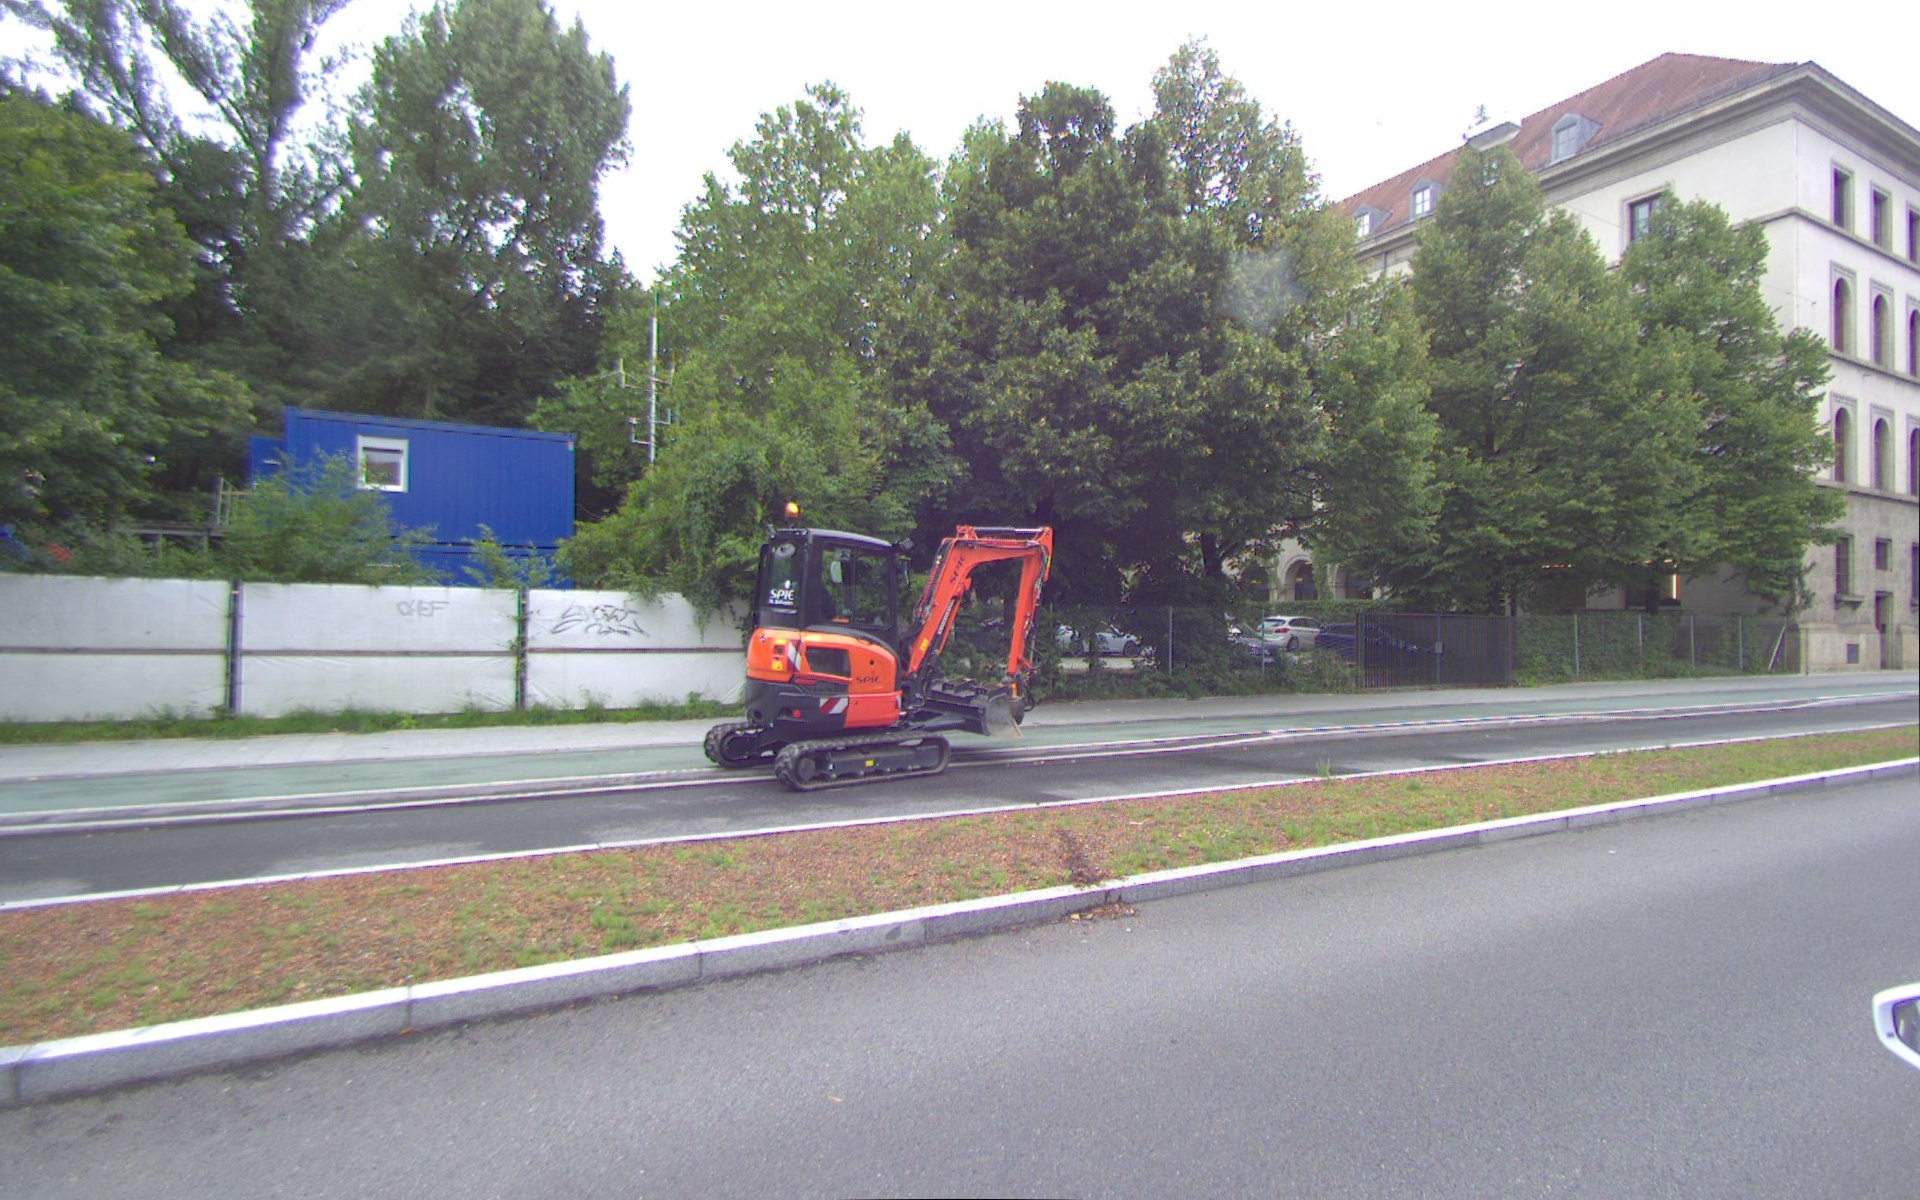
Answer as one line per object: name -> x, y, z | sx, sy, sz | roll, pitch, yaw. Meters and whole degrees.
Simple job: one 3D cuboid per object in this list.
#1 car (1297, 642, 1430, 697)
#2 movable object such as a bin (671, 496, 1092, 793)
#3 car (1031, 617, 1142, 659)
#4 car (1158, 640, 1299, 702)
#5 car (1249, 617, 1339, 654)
car -> 13.524, 2.279, 33.858 | 1.815, 1.566, 3.908 | 1, 0, -31
movable object such as a bin -> -0.686, 0.462, 11.406 | 1.973, 2.676, 4.636 | -1, -2, 45
car -> 5.007, 1.465, 39.633 | 4.130, 1.566, 1.821 | 1, 0, -31
car -> 7.882, 2.028, 29.774 | 1.815, 1.566, 3.908 | 1, 0, -31
car -> 15.084, 1.587, 45.328 | 3.895, 1.566, 1.821 | 1, 0, -31
